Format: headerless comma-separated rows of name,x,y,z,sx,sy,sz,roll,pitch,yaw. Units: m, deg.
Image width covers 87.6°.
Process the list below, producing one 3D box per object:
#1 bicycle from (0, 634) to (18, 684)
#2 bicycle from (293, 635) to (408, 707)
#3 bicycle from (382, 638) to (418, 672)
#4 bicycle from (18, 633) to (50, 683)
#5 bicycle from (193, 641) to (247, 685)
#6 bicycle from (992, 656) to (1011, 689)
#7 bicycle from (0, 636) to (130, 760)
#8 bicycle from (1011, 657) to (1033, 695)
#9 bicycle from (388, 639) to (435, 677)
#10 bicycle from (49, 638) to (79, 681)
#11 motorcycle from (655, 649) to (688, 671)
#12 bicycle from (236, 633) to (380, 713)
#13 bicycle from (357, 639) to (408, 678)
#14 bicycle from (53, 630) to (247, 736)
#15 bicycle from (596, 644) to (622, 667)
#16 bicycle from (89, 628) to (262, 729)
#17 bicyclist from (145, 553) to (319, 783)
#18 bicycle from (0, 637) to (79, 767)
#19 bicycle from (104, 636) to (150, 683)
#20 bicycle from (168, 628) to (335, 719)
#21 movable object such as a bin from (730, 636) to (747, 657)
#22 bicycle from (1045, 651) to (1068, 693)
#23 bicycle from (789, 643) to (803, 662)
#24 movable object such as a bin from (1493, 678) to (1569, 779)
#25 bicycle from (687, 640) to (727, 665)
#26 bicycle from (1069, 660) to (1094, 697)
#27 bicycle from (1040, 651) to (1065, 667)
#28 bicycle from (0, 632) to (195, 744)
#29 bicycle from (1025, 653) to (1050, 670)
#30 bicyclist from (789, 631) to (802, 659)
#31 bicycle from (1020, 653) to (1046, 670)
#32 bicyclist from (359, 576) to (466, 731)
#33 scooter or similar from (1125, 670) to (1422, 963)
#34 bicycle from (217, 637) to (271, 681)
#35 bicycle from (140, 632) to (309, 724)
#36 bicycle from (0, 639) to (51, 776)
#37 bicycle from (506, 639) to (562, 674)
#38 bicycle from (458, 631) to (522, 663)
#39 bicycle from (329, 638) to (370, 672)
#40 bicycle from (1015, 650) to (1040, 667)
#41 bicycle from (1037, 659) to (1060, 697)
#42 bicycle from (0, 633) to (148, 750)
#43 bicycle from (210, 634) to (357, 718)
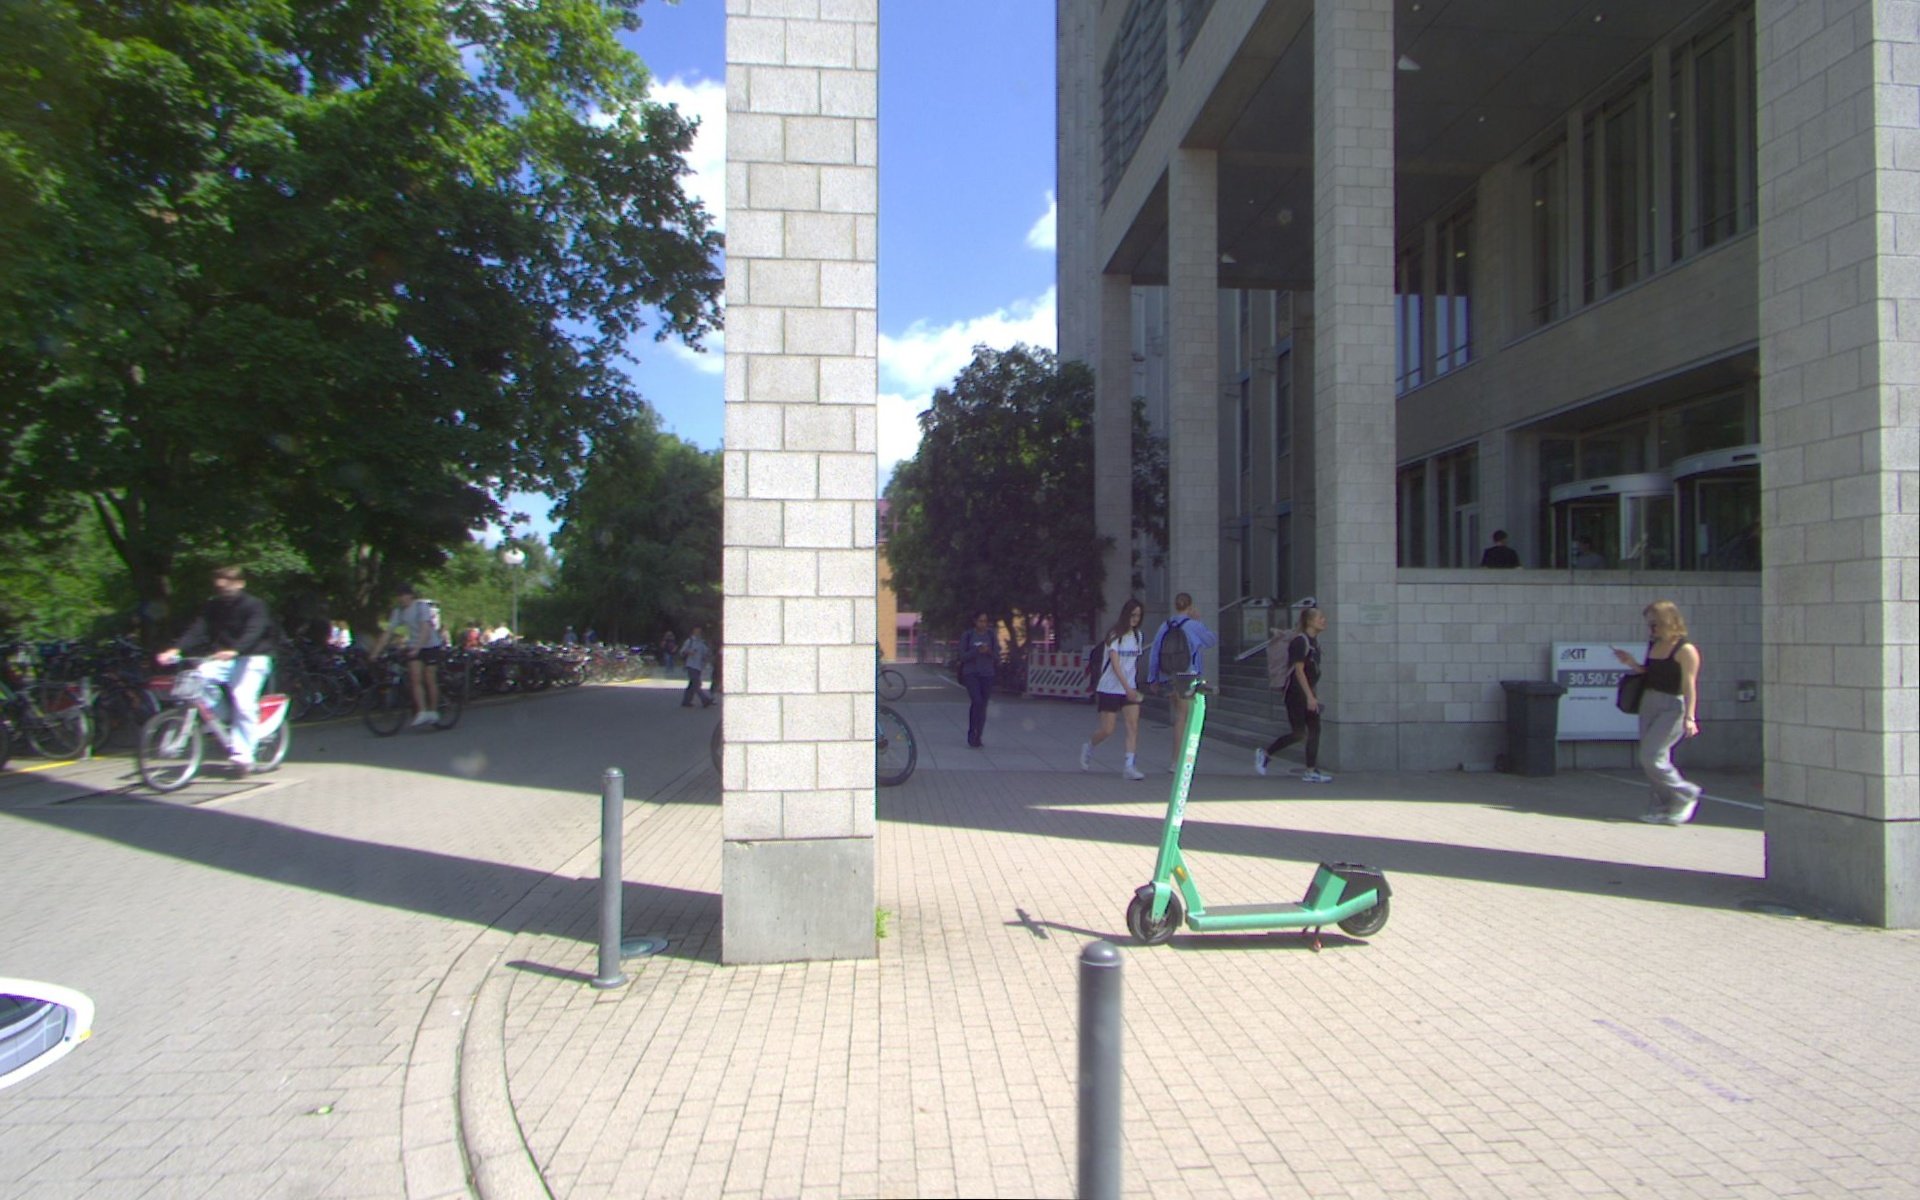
bicycle,-21.724,1.327,22.722,0.470,1.097,1.683,3,-3,-43
bicycle,-10.015,1.164,16.478,1.598,1.122,0.563,1,-2,9
bicycle,-19.598,1.916,35.018,1.756,1.124,0.471,-1,-3,39
bicycle,-21.170,1.311,22.882,0.470,1.097,1.683,3,-3,-43
bicycle,-18.991,1.608,25.686,1.674,1.097,0.472,0,-3,31
bicycle,1.201,2.110,29.265,0.286,0.917,1.448,1,-2,-8
bicycle,-9.008,0.911,9.553,1.598,1.122,0.630,1,-2,0
bicycle,1.585,1.945,25.857,0.286,0.917,1.448,1,-2,-8
bicycle,-16.225,1.711,29.630,1.676,1.097,0.472,0,-3,34
bicycle,-20.803,1.370,23.245,0.448,0.974,1.724,3,-3,-43
motorcycle,-14.592,3.026,50.579,2.000,1.060,0.471,1,-2,39
bicycle,-9.745,1.082,14.992,1.693,1.122,0.719,1,-2,6
bicycle,-16.573,1.671,28.724,1.674,1.097,0.472,0,-3,31
bicycle,-9.175,0.930,11.385,1.598,1.122,0.691,1,-2,0
bicycle,-16.873,2.657,48.150,0.470,1.060,1.682,4,-4,-45
bicycle,-9.486,0.950,12.146,1.598,1.165,0.497,2,-2,-4
bicyclist,-6.429,0.590,8.900,0.662,1.911,0.970,2,-2,10
bicycle,-8.960,0.889,8.992,1.598,1.122,0.497,1,-2,0
bicycle,-20.262,1.433,24.347,1.678,1.097,0.471,-1,-3,38
bicycle,-9.548,0.997,13.549,1.752,1.176,0.497,2,-2,-10
movable object such as a bin,-14.644,3.065,66.292,0.698,1.353,1.240,3,-2,6
bicycle,2.638,1.957,27.351,0.286,1.108,1.448,1,-2,-8
bicycle,-10.051,3.239,61.313,0.759,1.164,2.109,0,-4,-7
movable object such as a bin,5.685,1.265,9.988,0.367,0.950,0.550,2,-2,-24
bicycle,-12.291,2.554,48.690,1.815,1.124,0.473,3,-3,-23
bicycle,3.124,2.007,25.829,0.286,0.917,1.448,1,-2,-8
bicycle,7.053,4.516,76.269,1.778,1.124,0.474,3,-2,-10
bicycle,-9.156,0.927,10.662,1.598,1.122,0.497,1,-2,0
bicycle,5.506,4.386,71.150,1.666,1.124,0.474,2,-2,-1
bicyclist,-10.038,2.763,61.237,0.759,1.737,0.911,0,-3,-7
bicycle,5.289,4.467,72.923,1.780,1.124,0.524,2,-2,-5
bicyclist,-7.095,0.691,13.022,0.789,1.915,0.868,2,-2,4
scooter or similar,1.316,0.896,4.308,1.136,1.166,0.444,0,-1,0
bicycle,-18.707,1.533,26.143,1.674,1.097,0.472,0,-3,31
bicycle,-9.449,0.997,12.919,1.599,1.122,0.645,2,-2,-10
bicycle,-8.717,0.879,8.439,1.598,1.122,0.497,1,-2,0
bicycle,-14.121,1.866,33.187,1.667,1.124,0.474,1,-2,8
bicycle,-16.109,1.611,34.356,1.875,1.060,0.541,1,-1,-17
bicycle,-20.742,1.871,34.028,1.753,1.124,0.472,-1,-3,34
bicycle,4.981,4.302,73.763,1.780,1.124,0.524,2,-2,-1
bicycle,2.271,1.987,25.767,0.286,0.917,1.448,1,-2,-8
bicycle,-9.225,0.910,10.108,1.598,1.122,0.506,1,-2,0
bicycle,-9.465,1.063,14.051,1.599,1.122,0.497,2,-2,-10
